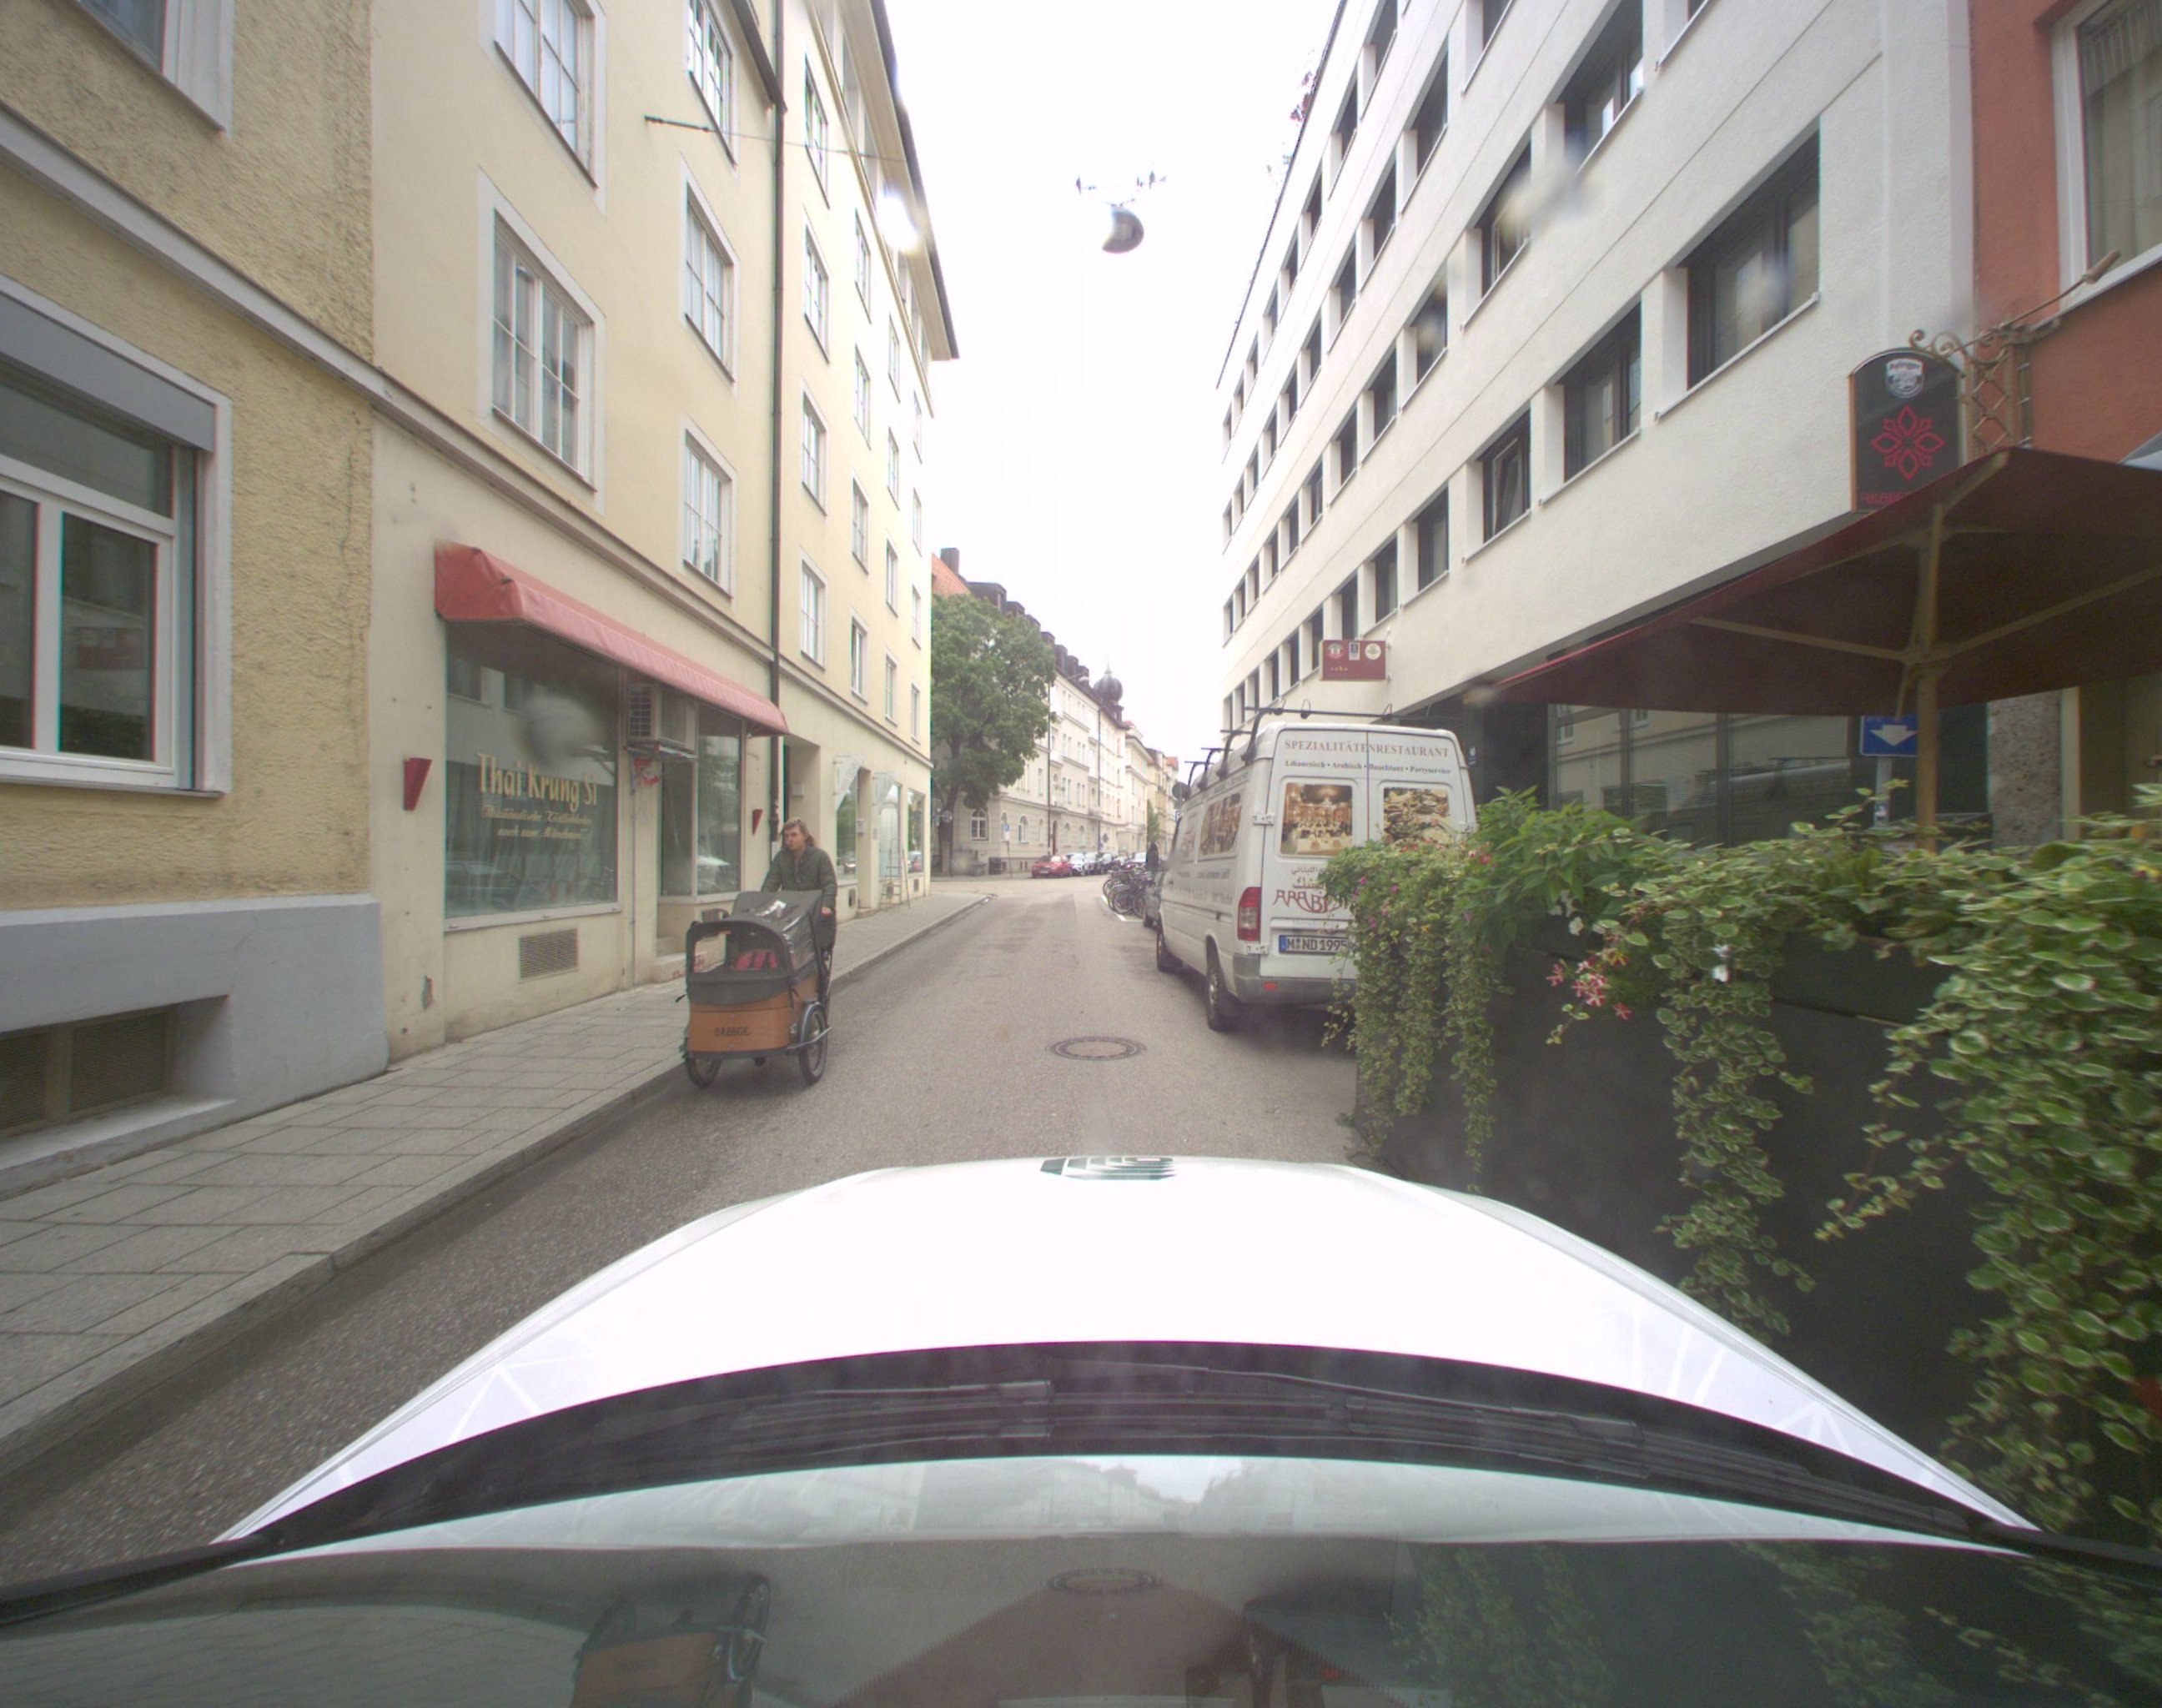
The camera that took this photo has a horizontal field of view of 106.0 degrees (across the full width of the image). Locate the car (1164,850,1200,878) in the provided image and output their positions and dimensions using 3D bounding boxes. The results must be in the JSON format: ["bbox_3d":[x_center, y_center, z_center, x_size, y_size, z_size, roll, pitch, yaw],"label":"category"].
[{"bbox_3d":[6.454,0.598,51.825,1.807,1.636,4.304,2,0,13],"label":"car"}]

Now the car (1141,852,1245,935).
[{"bbox_3d":[2.114,0.701,16.162,1.575,1.464,3.551,0,0,0],"label":"car"}]

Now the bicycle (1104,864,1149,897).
[{"bbox_3d":[1.543,0.898,27.677,1.450,1.069,0.462,0,0,-9],"label":"bicycle"}]

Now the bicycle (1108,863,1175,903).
[{"bbox_3d":[1.728,0.826,23.369,1.870,1.095,0.439,0,1,-5],"label":"bicycle"}]

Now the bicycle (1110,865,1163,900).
[{"bbox_3d":[1.761,0.910,26.034,1.671,1.079,0.335,0,1,-5],"label":"bicycle"}]

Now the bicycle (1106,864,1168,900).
[{"bbox_3d":[1.723,0.850,25.208,1.870,1.079,0.408,0,1,-5],"label":"bicycle"}]

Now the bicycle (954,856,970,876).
[{"bbox_3d":[-6.898,0.694,47.267,0.491,1.052,1.829,0,2,4],"label":"bicycle"}]

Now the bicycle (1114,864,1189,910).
[{"bbox_3d":[1.851,0.862,21.470,1.869,1.157,0.564,1,1,-4],"label":"bicycle"}]

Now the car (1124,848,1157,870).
[{"bbox_3d":[4.628,0.384,62.873,1.944,1.607,4.322,0,0,11],"label":"car"}]

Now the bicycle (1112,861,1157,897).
[{"bbox_3d":[1.787,0.832,27.233,1.450,1.207,0.394,0,0,-9],"label":"bicycle"}]

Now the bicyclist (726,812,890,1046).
[{"bbox_3d":[-2.160,0.553,6.614,0.923,1.721,1.099,-1,0,-1],"label":"bicyclist"}]

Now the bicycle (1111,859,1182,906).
[{"bbox_3d":[1.773,0.762,22.199,1.869,1.204,0.579,-1,0,-4],"label":"bicycle"}]

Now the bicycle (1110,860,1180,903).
[{"bbox_3d":[1.796,0.765,22.829,1.889,1.170,0.565,-1,0,-4],"label":"bicycle"}]

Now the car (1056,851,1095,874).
[{"bbox_3d":[-0.336,0.545,53.579,1.983,1.473,4.227,0,0,7],"label":"car"}]

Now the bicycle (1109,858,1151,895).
[{"bbox_3d":[1.714,0.783,28.691,1.452,1.285,0.445,0,0,0],"label":"bicycle"}]

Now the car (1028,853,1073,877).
[{"bbox_3d":[-1.756,0.616,48.482,1.719,1.378,4.239,0,0,11],"label":"car"}]

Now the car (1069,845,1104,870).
[{"bbox_3d":[0.428,0.254,58.289,1.931,1.702,4.010,1,0,9],"label":"car"}]

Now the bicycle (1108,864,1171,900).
[{"bbox_3d":[1.766,0.839,24.771,1.870,1.079,0.402,0,1,-5],"label":"bicycle"}]

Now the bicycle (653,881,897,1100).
[{"bbox_3d":[-2.152,0.875,6.209,0.929,1.257,2.413,-1,-1,0],"label":"bicycle"}]

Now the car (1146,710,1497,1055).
[{"bbox_3d":[2.023,0.207,8.992,1.915,2.506,5.993,1,0,-2],"label":"car"}]

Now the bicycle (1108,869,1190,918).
[{"bbox_3d":[1.599,0.932,19.258,1.869,1.079,0.488,2,1,-4],"label":"bicycle"}]

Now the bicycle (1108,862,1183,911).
[{"bbox_3d":[1.638,0.824,20.782,1.869,1.204,0.488,0,1,-4],"label":"bicycle"}]

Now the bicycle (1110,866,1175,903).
[{"bbox_3d":[1.816,0.895,24.074,1.870,1.052,0.563,0,-2,-5],"label":"bicycle"}]

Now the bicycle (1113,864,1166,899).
[{"bbox_3d":[1.835,0.869,25.651,1.610,1.079,0.377,0,1,-5],"label":"bicycle"}]

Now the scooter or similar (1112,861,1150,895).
[{"bbox_3d":[1.804,0.853,29.490,1.348,1.210,0.417,0,0,0],"label":"scooter or similar"}]

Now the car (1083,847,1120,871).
[{"bbox_3d":[1.645,0.385,63.579,1.979,1.738,4.538,1,0,13],"label":"car"}]

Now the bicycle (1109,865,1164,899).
[{"bbox_3d":[1.811,0.911,26.449,1.737,1.079,0.451,0,1,-5],"label":"bicycle"}]

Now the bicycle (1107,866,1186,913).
[{"bbox_3d":[1.618,0.879,20.261,1.869,1.108,0.488,1,1,-4],"label":"bicycle"}]
